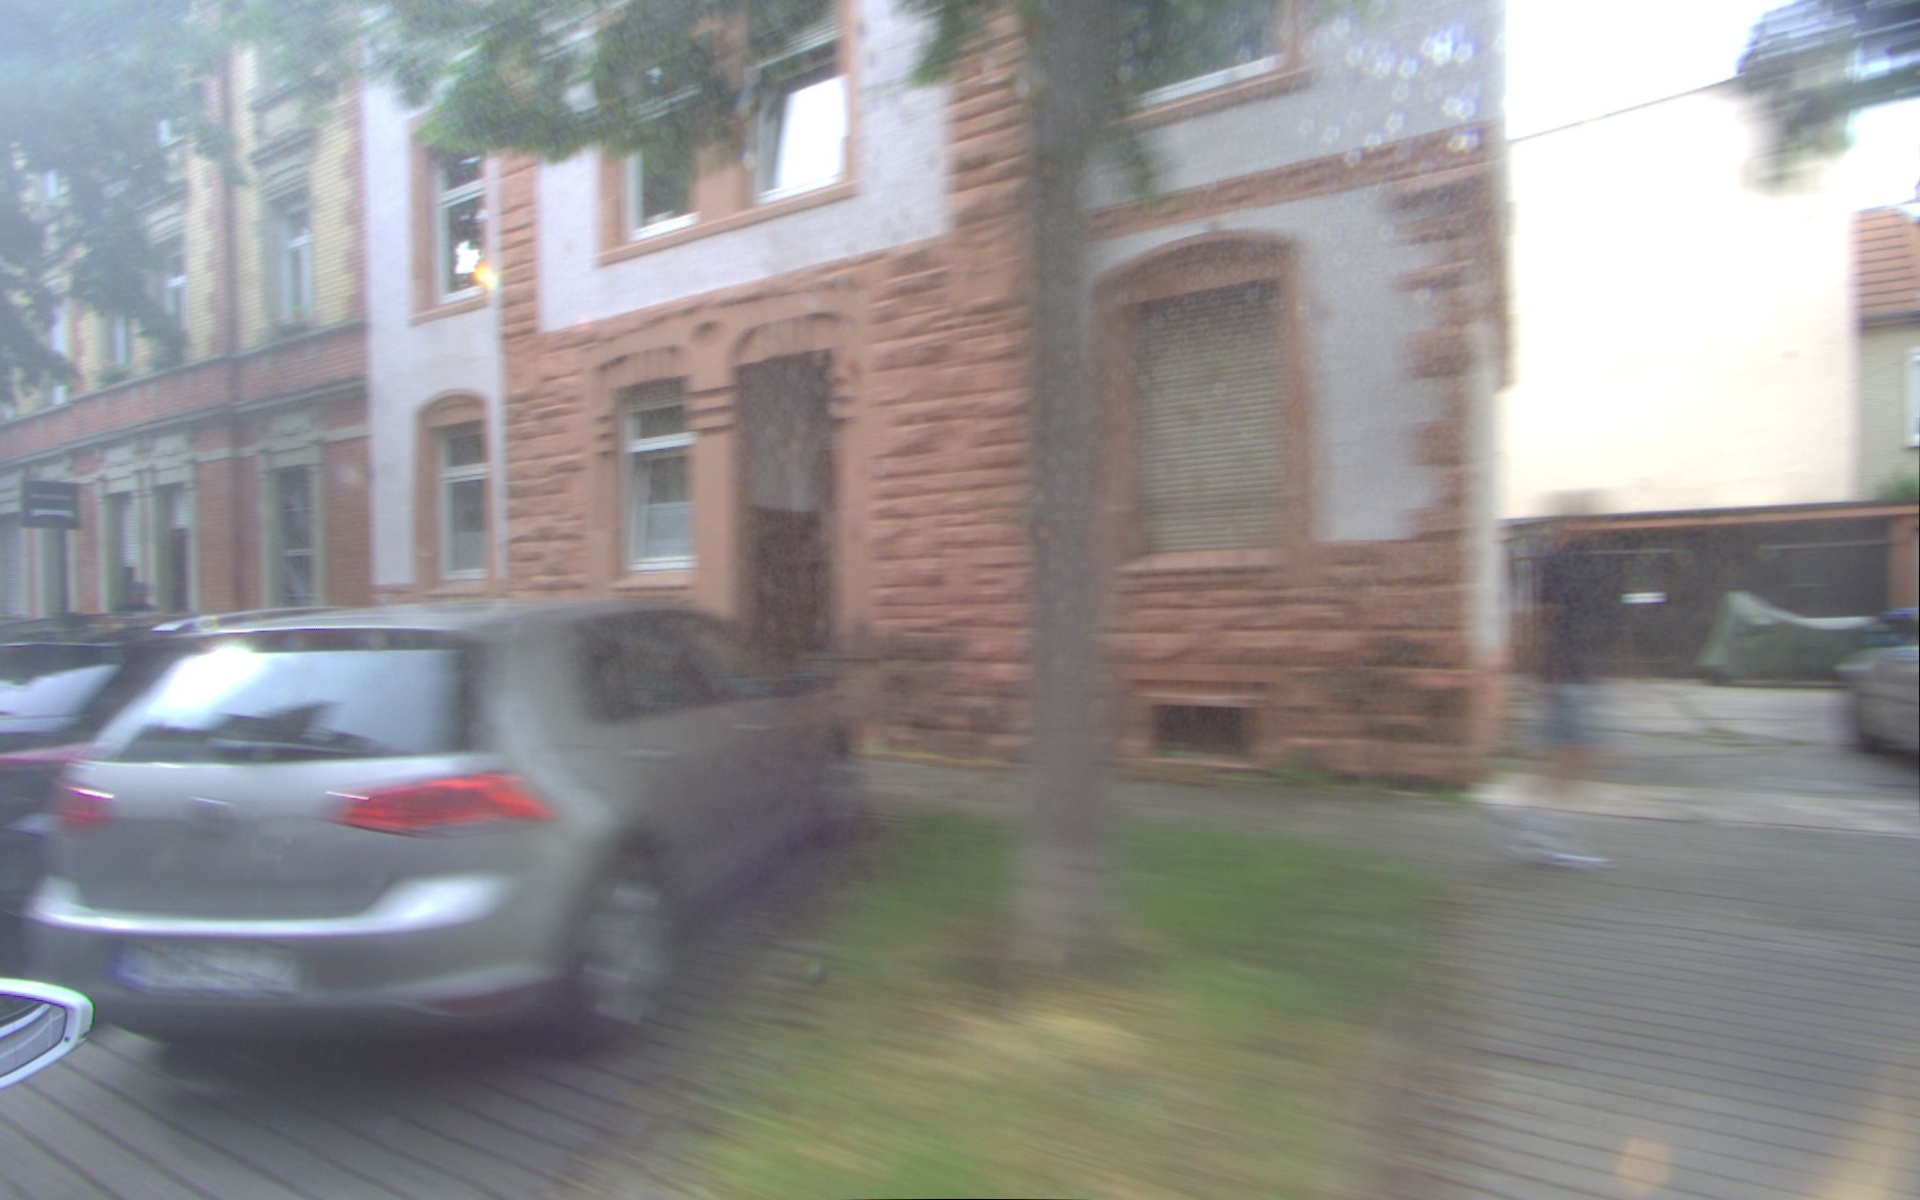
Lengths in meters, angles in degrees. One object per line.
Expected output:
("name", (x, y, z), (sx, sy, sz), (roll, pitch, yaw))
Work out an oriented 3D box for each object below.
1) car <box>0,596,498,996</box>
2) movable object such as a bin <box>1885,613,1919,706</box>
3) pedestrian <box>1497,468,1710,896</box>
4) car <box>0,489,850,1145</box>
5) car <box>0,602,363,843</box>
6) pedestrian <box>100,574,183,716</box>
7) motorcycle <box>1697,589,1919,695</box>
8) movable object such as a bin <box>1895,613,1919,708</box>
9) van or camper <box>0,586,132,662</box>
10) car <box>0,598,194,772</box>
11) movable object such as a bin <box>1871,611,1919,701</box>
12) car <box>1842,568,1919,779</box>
("car", (-4.259, 0.738, 5.553), (1.672, 1.486, 3.693), (-1, 0, 0))
("movable object such as a bin", (11.251, 0.690, 11.770), (0.470, 1.065, 0.403), (0, 1, 31))
("pedestrian", (3.053, 0.361, 4.804), (0.805, 1.835, 0.700), (0, 0, 32))
("car", (-1.761, 0.556, 4.262), (1.752, 1.583, 3.468), (0, -1, 8))
("car", (-6.733, 0.785, 8.056), (1.712, 1.455, 3.882), (-2, 1, -4))
("pedestrian", (-10.426, 0.561, 12.758), (0.653, 1.756, 0.596), (0, 1, 29))
("motorcycle", (11.500, 0.542, 13.705), (2.219, 1.350, 0.794), (-1, 1, 34))
("movable object such as a bin", (11.009, 0.680, 11.381), (0.470, 1.065, 0.403), (0, 1, 31))
("van or camper", (-33.125, 0.819, 35.299), (2.108, 2.529, 5.749), (3, 2, 37))
("car", (-9.155, 0.771, 8.807), (1.725, 1.447, 4.441), (-2, 2, -6))
("movable object such as a bin", (11.533, 0.676, 12.248), (0.470, 1.065, 0.577), (0, 1, 31))
("car", (7.354, 0.497, 6.559), (1.586, 1.473, 3.981), (-1, 0, 30))
